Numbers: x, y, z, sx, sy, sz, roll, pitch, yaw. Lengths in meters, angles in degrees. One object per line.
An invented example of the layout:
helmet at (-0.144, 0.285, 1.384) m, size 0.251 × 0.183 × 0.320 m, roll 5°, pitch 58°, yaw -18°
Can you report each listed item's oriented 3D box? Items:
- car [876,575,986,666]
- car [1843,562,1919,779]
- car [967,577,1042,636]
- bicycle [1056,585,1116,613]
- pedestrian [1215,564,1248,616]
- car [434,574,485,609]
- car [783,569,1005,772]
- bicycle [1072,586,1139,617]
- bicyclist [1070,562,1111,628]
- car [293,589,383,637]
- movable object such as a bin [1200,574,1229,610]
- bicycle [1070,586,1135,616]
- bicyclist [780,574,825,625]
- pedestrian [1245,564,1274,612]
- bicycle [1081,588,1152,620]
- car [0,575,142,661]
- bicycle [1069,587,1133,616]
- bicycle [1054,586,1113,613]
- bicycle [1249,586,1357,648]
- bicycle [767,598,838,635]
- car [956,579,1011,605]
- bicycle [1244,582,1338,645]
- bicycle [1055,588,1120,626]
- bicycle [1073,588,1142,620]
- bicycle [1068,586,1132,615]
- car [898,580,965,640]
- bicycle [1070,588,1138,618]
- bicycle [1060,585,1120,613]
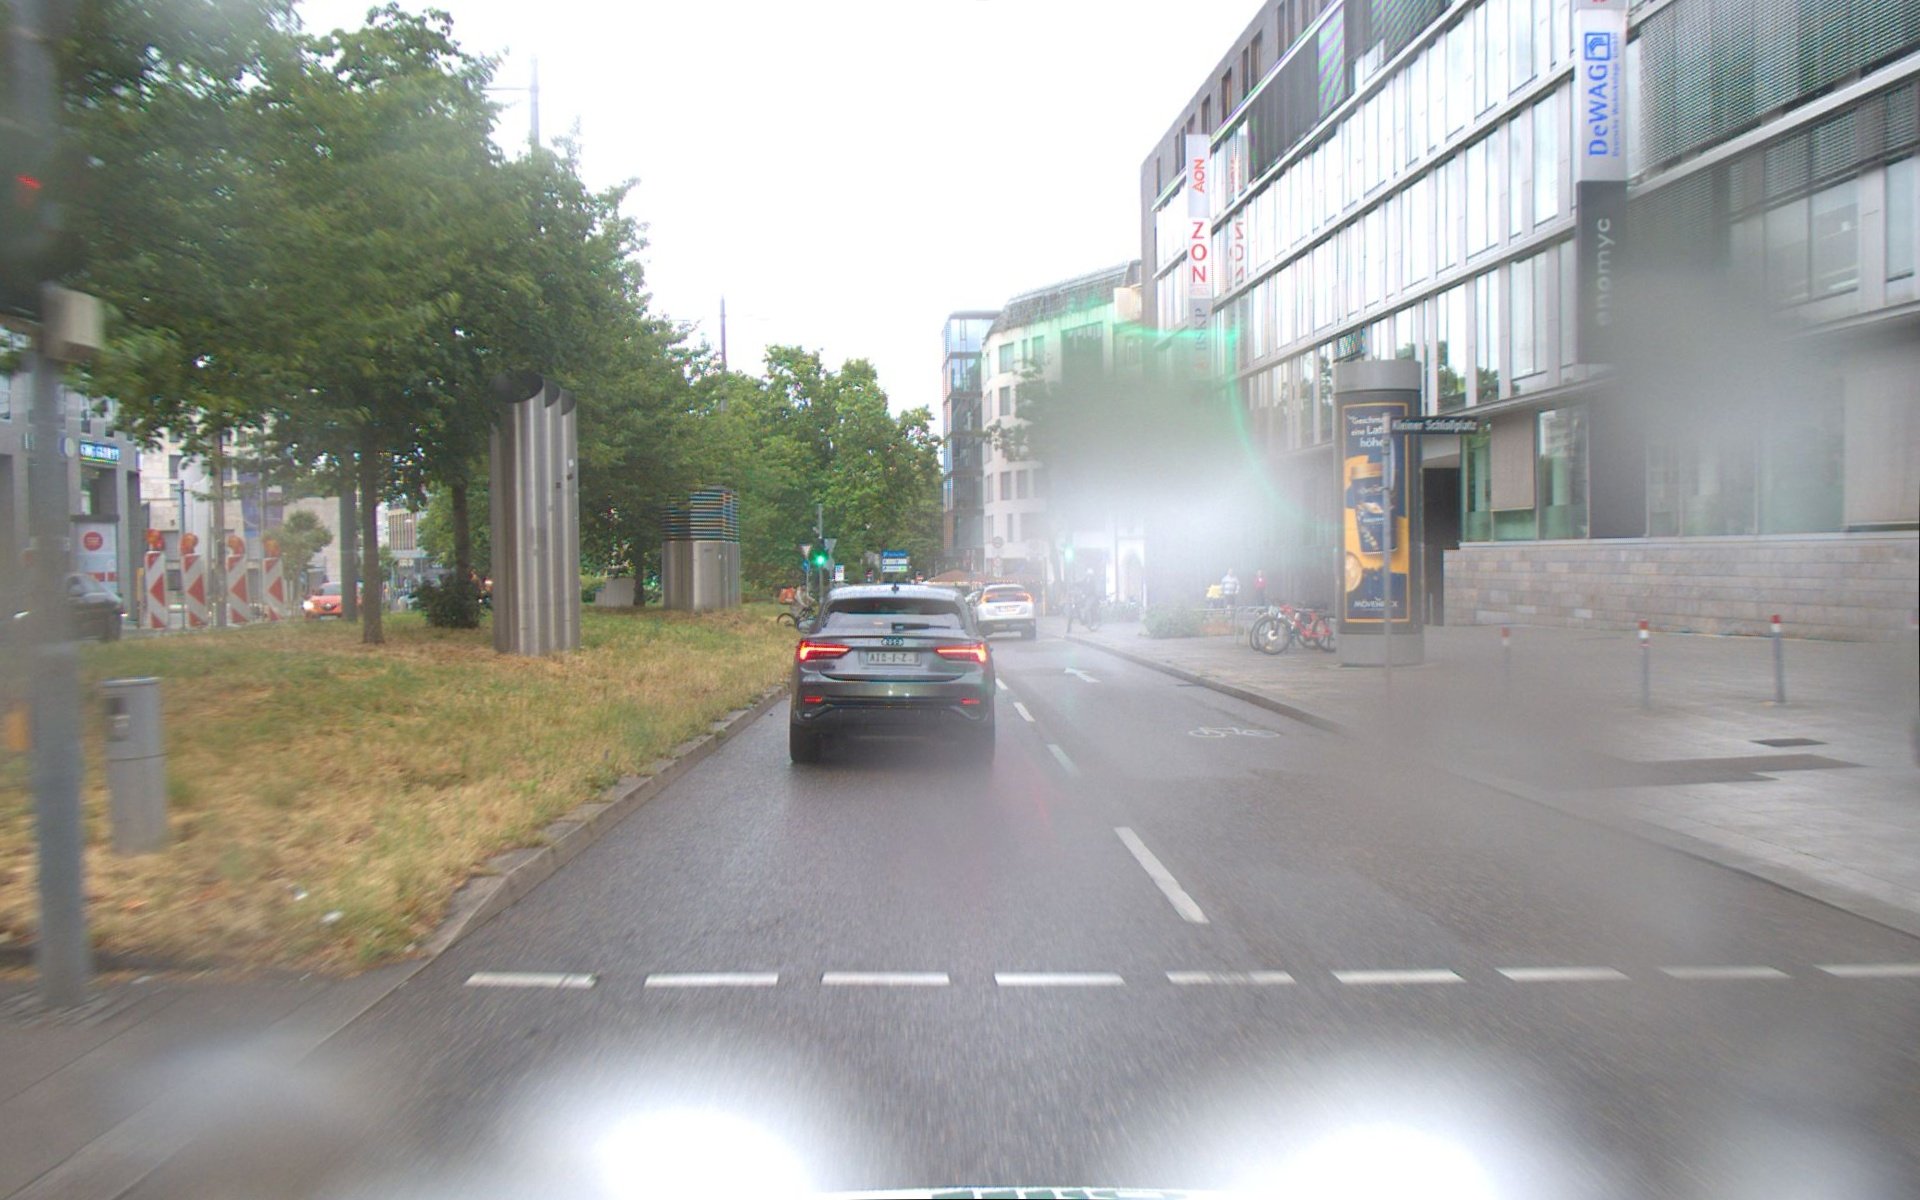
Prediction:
car at (-0.681, 0.379, 34.384) m, size 2.119 × 1.735 × 4.551 m, roll -1°, pitch 1°, yaw -3°
car at (7.984, 0.447, 10.734) m, size 3.761 × 1.441 × 1.628 m, roll 0°, pitch 1°, yaw 39°
car at (1.325, 0.180, 51.044) m, size 2.134 × 1.730 × 4.000 m, roll -1°, pitch 1°, yaw -1°
bicycle at (5.475, -0.044, 71.957) m, size 2.486 × 1.106 × 0.677 m, roll -2°, pitch 0°, yaw -4°
pedestrian at (9.992, -0.368, 60.965) m, size 0.882 × 1.823 × 1.046 m, roll -4°, pitch 0°, yaw -5°
car at (-25.772, -0.421, 85.276) m, size 1.909 × 1.730 × 3.992 m, roll -1°, pitch 1°, yaw -8°
car at (-0.526, 0.540, 15.682) m, size 1.810 × 1.644 × 4.253 m, roll 0°, pitch 1°, yaw 0°
bicycle at (5.694, 0.060, 64.785) m, size 2.486 × 1.106 × 0.677 m, roll -2°, pitch 0°, yaw -4°
bicyclist at (4.270, -0.160, 54.065) m, size 1.074 × 2.119 × 0.753 m, roll -2°, pitch 0°, yaw -37°
car at (-20.603, 0.400, 54.976) m, size 1.826 × 1.454 × 4.126 m, roll -2°, pitch 1°, yaw -7°
movable object such as a bin at (9.580, -0.300, 62.301) m, size 0.717 × 1.286 × 1.444 m, roll -4°, pitch 1°, yaw -2°
bicycle at (5.648, 0.052, 65.524) m, size 2.486 × 1.106 × 0.677 m, roll -2°, pitch 0°, yaw -4°
bicyclist at (-5.126, -0.017, 53.768) m, size 1.109 × 1.610 × 1.015 m, roll 1°, pitch 0°, yaw 20°
pedestrian at (11.061, -0.458, 61.037) m, size 0.704 × 1.719 × 1.099 m, roll -4°, pitch 0°, yaw -5°
bicycle at (5.720, 0.135, 60.352) m, size 2.486 × 1.075 × 0.677 m, roll -2°, pitch 0°, yaw -4°
car at (-17.197, 0.298, 30.951) m, size 1.825 × 1.454 × 4.561 m, roll -2°, pitch 1°, yaw -5°
bicycle at (5.659, 0.048, 66.391) m, size 2.486 × 1.078 × 0.677 m, roll -2°, pitch 0°, yaw -4°
bicycle at (5.436, -0.035, 72.676) m, size 2.486 × 1.106 × 0.677 m, roll -2°, pitch 0°, yaw -4°
bicycle at (6.666, 0.329, 32.225) m, size 1.942 × 1.123 × 0.809 m, roll -2°, pitch 0°, yaw 3°
bicycle at (-5.115, 0.532, 53.756) m, size 2.018 × 1.133 × 1.012 m, roll 1°, pitch 0°, yaw 20°
car at (1.714, -0.609, 120.388) m, size 3.906 × 1.676 × 2.000 m, roll 3°, pitch 0°, yaw 0°
bicycle at (6.807, 0.276, 34.078) m, size 1.798 × 1.218 × 0.661 m, roll -2°, pitch 0°, yaw 3°
bicycle at (4.169, 0.226, 53.974) m, size 2.111 × 1.165 × 0.753 m, roll -2°, pitch 0°, yaw -38°
bicycle at (5.506, 0.143, 61.830) m, size 2.486 × 1.106 × 0.677 m, roll -2°, pitch 0°, yaw -4°
bicycle at (5.692, 0.026, 67.299) m, size 2.486 × 1.106 × 0.677 m, roll -2°, pitch 0°, yaw -4°
car at (-0.805, 0.267, 49.869) m, size 1.905 × 1.675 × 4.245 m, roll -1°, pitch 1°, yaw 0°
bicycle at (5.434, 0.099, 62.634) m, size 2.486 × 1.106 × 0.677 m, roll 1°, pitch 0°, yaw -4°
bicycle at (5.592, -0.030, 71.067) m, size 2.486 × 1.106 × 0.677 m, roll -2°, pitch 0°, yaw -4°
